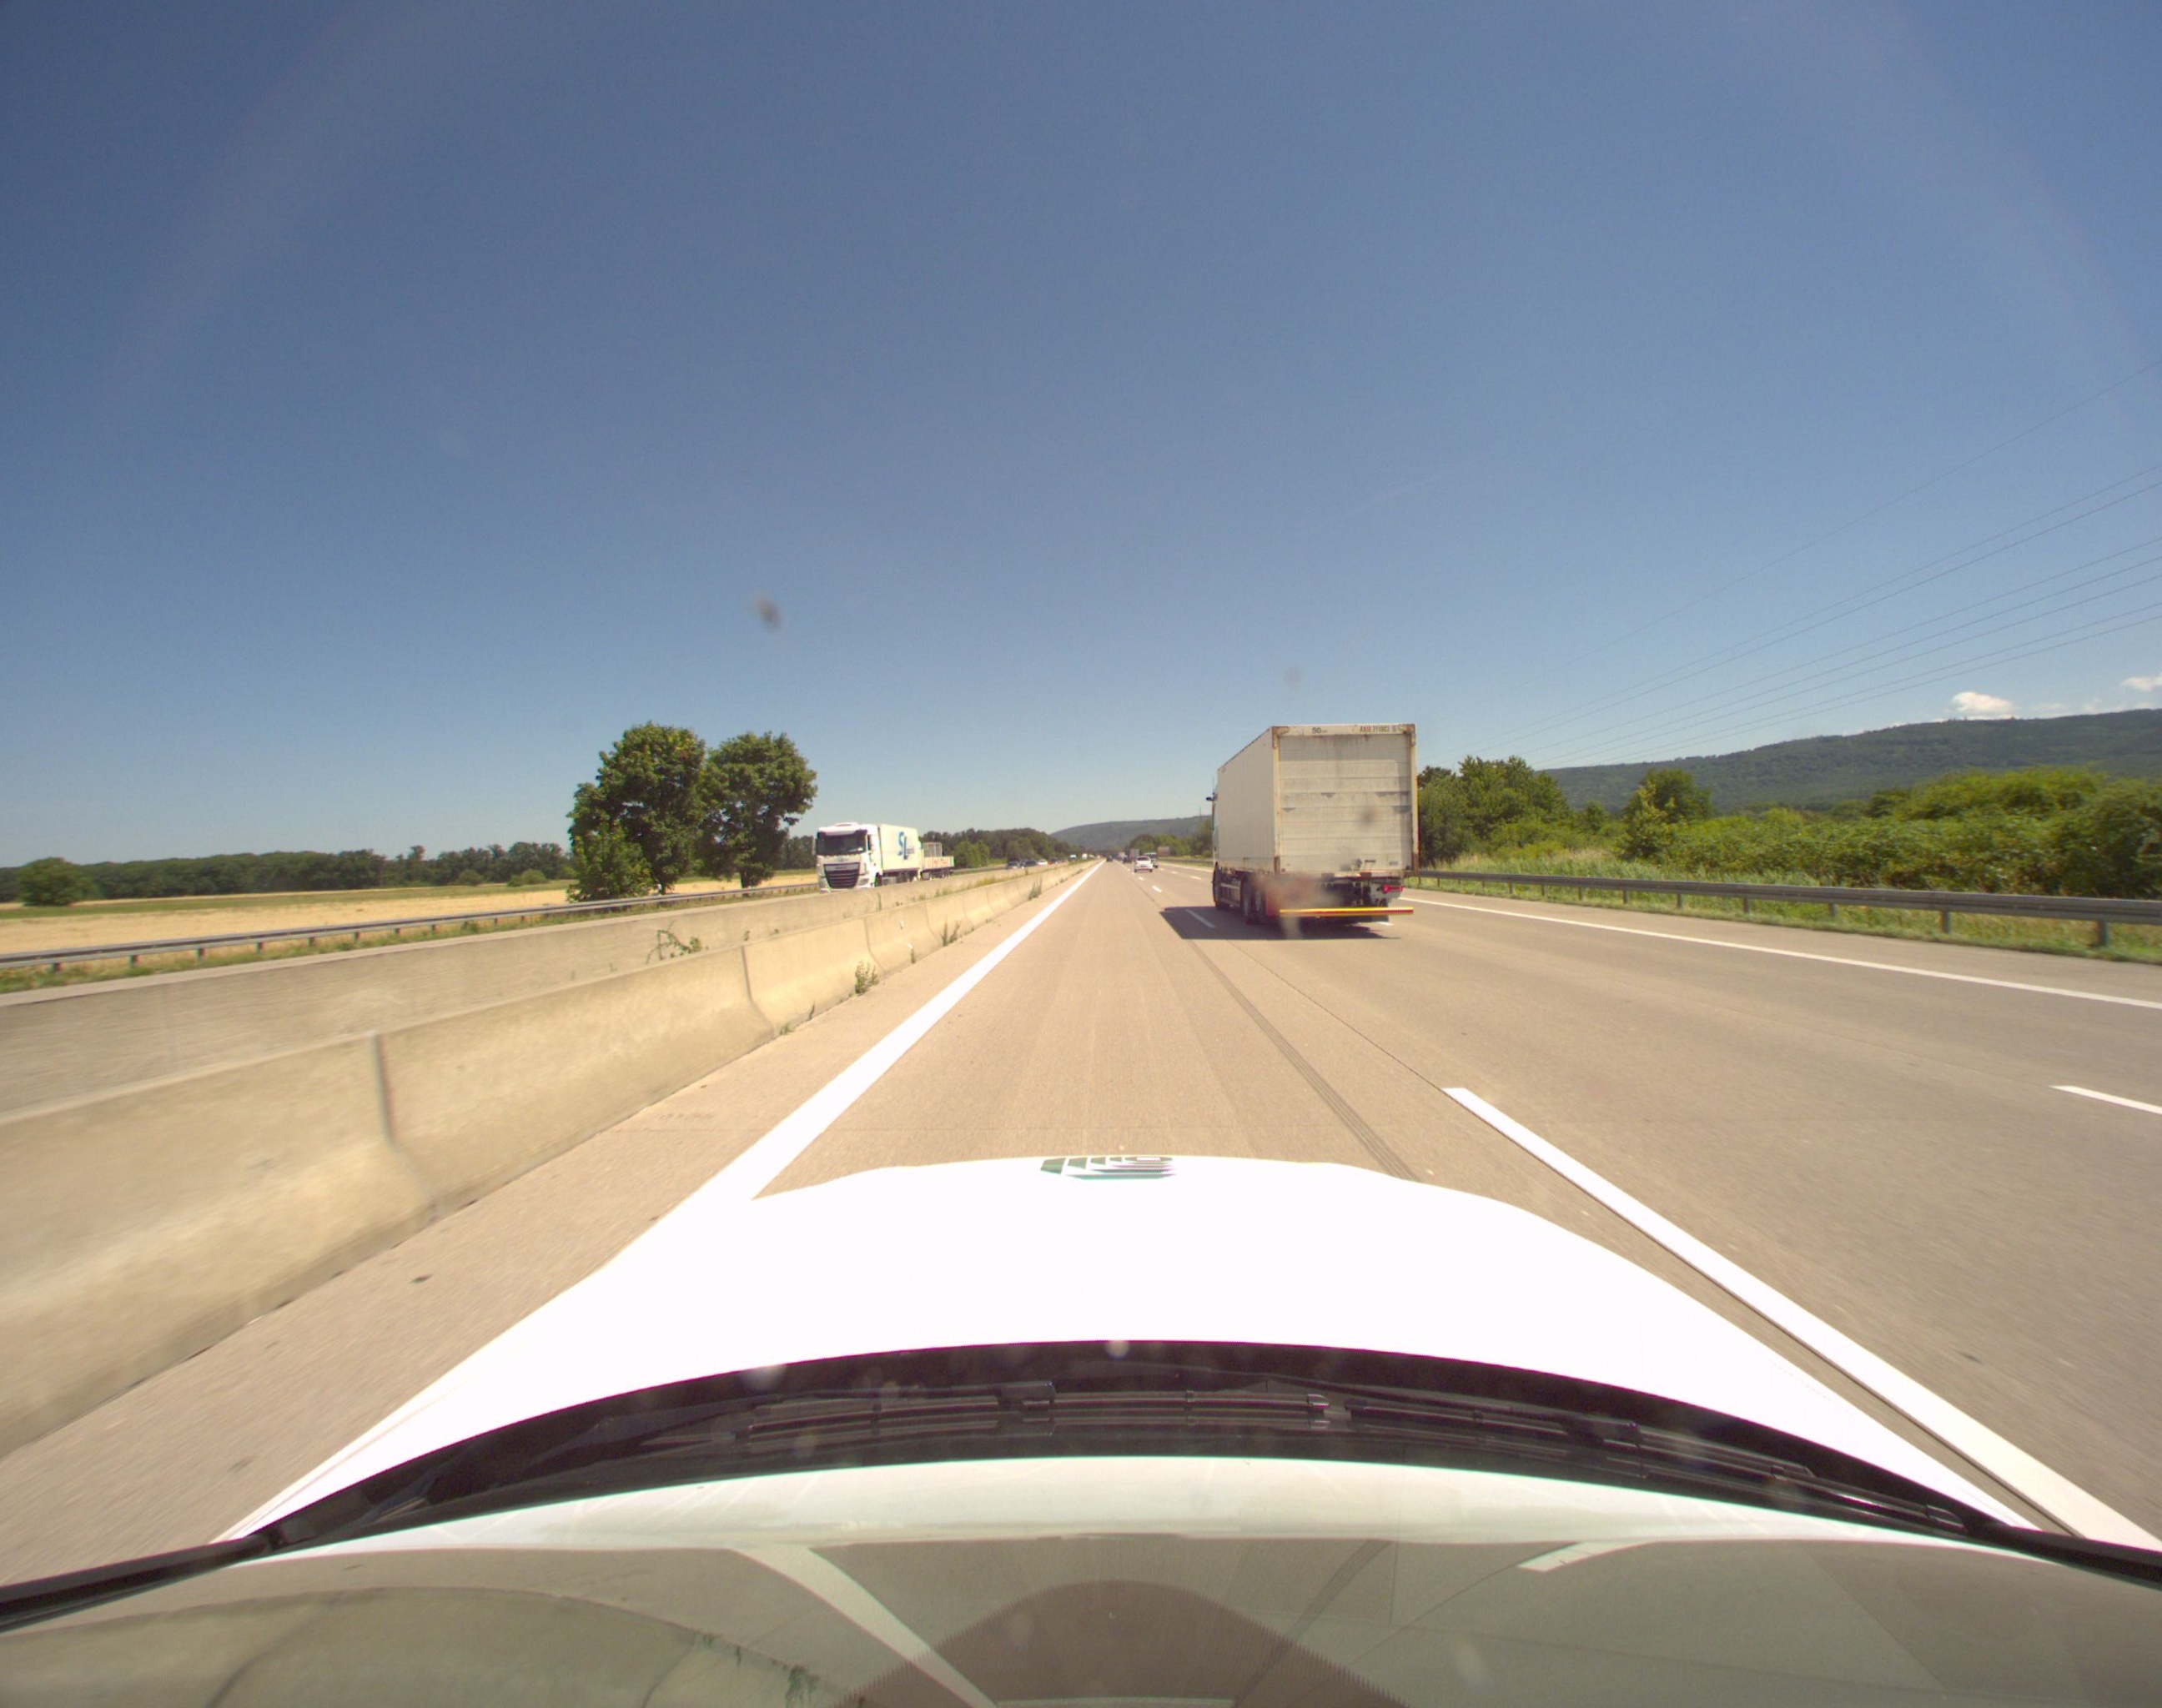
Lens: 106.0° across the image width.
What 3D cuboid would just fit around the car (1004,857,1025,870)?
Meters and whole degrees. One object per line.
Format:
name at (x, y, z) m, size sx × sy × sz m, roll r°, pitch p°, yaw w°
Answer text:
car at (-8.807, 1.267, 107.881) m, size 1.955 × 1.717 × 5.132 m, roll -1°, pitch 0°, yaw 4°

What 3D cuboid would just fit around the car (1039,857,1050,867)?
car at (-6.986, 1.542, 157.392) m, size 1.987 × 1.717 × 4.611 m, roll -1°, pitch -2°, yaw 0°

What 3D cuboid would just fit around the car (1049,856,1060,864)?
car at (-6.129, 1.342, 187.962) m, size 1.985 × 1.878 × 5.188 m, roll -1°, pitch 0°, yaw 3°

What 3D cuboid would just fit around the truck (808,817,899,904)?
truck at (-11.021, 0.296, 39.951) m, size 2.890 × 3.970 × 5.047 m, roll -1°, pitch 0°, yaw 1°

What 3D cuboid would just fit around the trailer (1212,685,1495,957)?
trailer at (4.732, -0.458, 16.852) m, size 2.571 × 3.877 × 10.375 m, roll -1°, pitch 0°, yaw 1°

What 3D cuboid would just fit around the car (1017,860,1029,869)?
car at (-11.543, 2.028, 161.368) m, size 1.987 × 1.717 × 4.301 m, roll -1°, pitch 0°, yaw 1°

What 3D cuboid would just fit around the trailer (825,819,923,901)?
trailer at (-10.910, 0.319, 43.960) m, size 2.890 × 3.970 × 8.480 m, roll -1°, pitch 0°, yaw 2°

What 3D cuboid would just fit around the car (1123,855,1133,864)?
car at (9.820, 1.115, 170.090) m, size 1.987 × 1.849 × 4.000 m, roll 1°, pitch 0°, yaw 1°

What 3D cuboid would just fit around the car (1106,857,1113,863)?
car at (7.958, 1.729, 231.431) m, size 1.922 × 1.794 × 4.001 m, roll -1°, pitch 0°, yaw 1°

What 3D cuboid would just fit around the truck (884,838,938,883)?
truck at (-14.435, 0.528, 69.763) m, size 2.792 × 3.687 × 7.239 m, roll -1°, pitch 0°, yaw 2°

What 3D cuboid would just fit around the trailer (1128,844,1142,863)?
trailer at (17.155, -0.073, 259.188) m, size 3.708 × 5.811 × 12.161 m, roll -1°, pitch 0°, yaw 1°

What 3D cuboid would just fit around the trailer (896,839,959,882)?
trailer at (-14.138, 0.565, 76.291) m, size 2.792 × 3.683 × 13.756 m, roll -1°, pitch 0°, yaw 2°

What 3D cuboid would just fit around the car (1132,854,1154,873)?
car at (5.942, 0.891, 78.339) m, size 1.813 × 1.662 × 4.001 m, roll -1°, pitch 0°, yaw 1°

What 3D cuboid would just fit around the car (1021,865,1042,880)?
car at (-5.682, 2.114, 94.363) m, size 1.986 × 1.717 × 5.027 m, roll 0°, pitch 0°, yaw 2°

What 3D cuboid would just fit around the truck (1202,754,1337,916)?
truck at (4.894, -0.446, 22.045) m, size 2.572 × 3.877 × 4.985 m, roll -1°, pitch 0°, yaw 1°

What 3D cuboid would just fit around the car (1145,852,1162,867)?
car at (9.111, 0.662, 102.675) m, size 1.986 × 1.849 × 4.001 m, roll 0°, pitch 0°, yaw 1°
